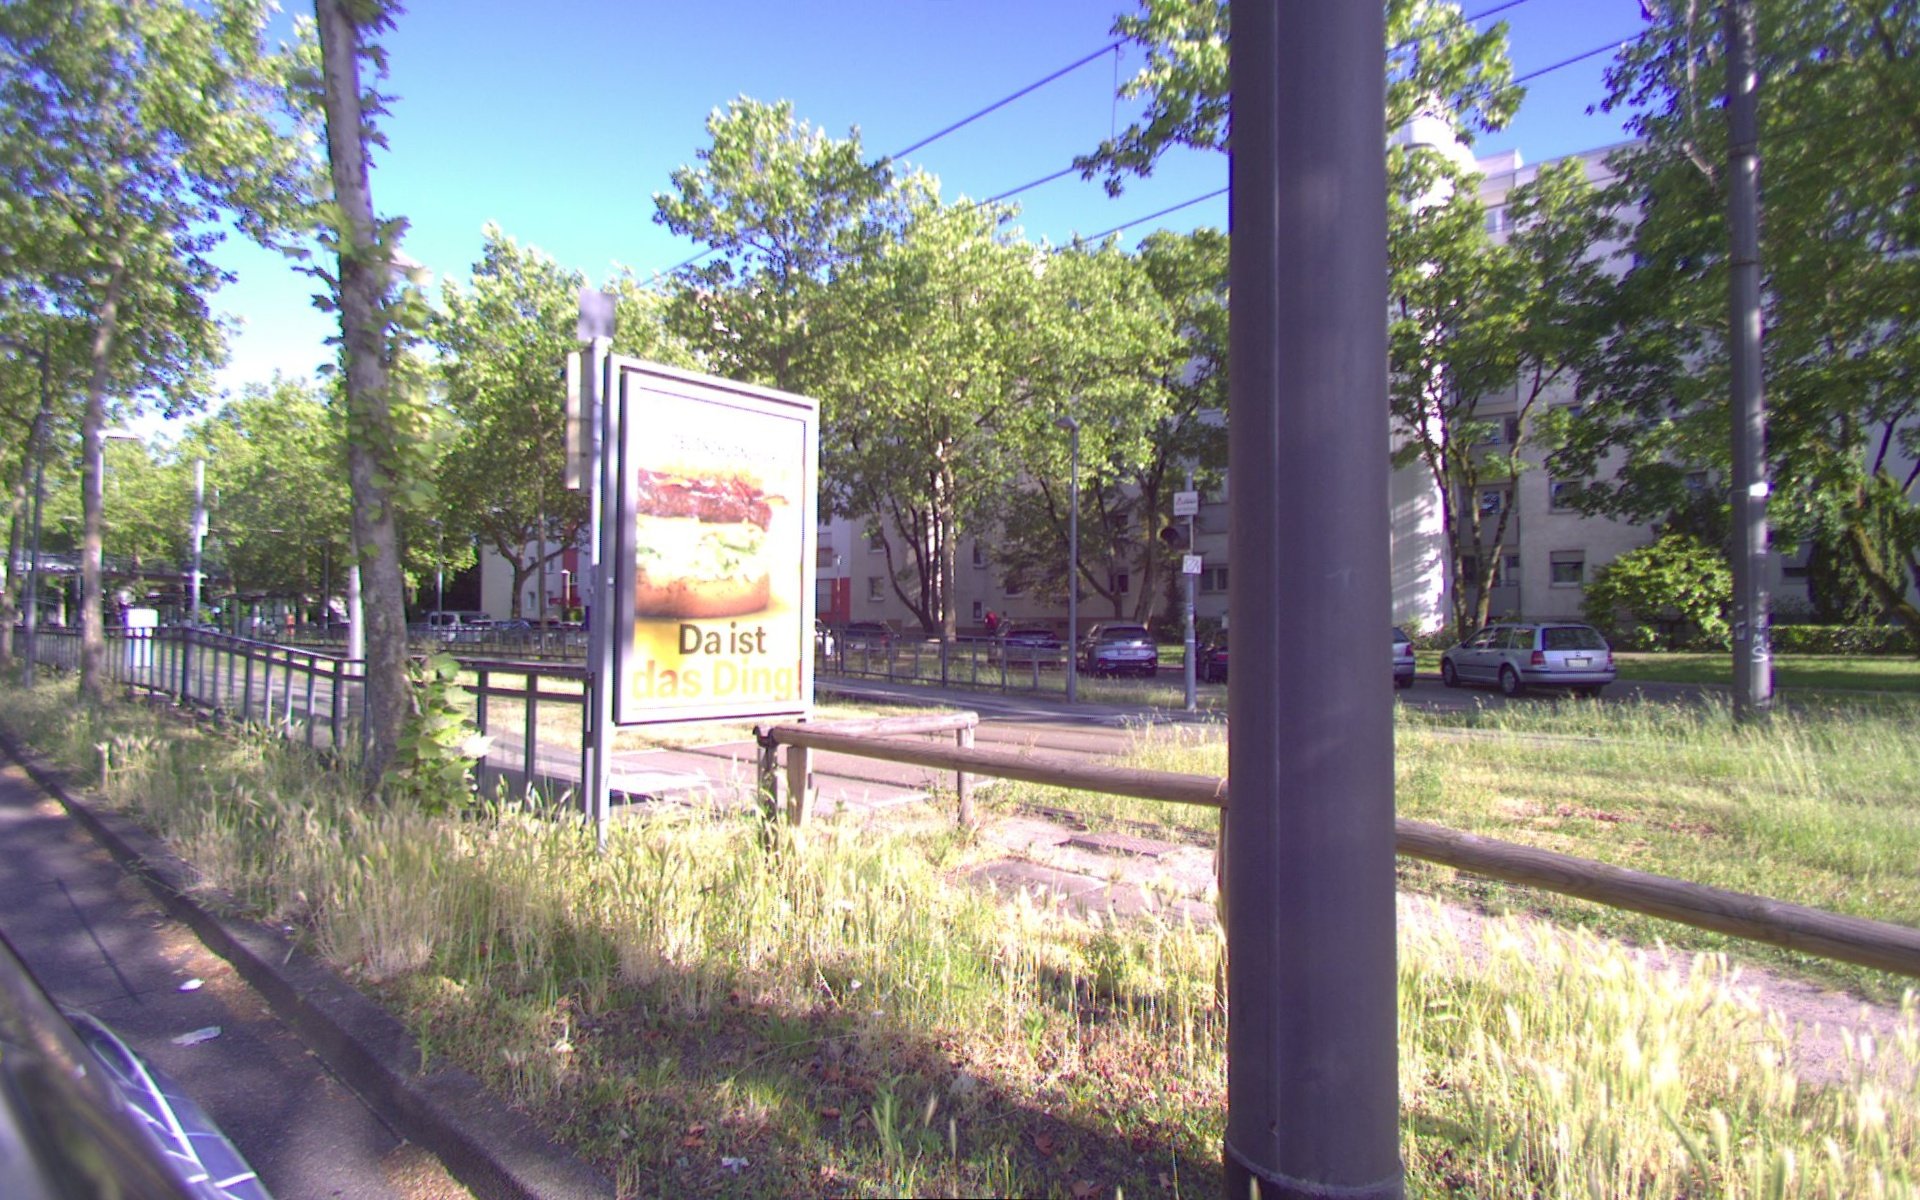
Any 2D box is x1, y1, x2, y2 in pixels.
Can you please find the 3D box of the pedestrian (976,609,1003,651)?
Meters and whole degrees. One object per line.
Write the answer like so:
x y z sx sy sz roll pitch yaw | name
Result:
1.232 1.249 42.290 0.786 1.745 0.755 -1 0 39 | pedestrian

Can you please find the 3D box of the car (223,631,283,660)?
-46.176 2.930 66.050 4.895 1.835 1.810 -1 -1 38 | car

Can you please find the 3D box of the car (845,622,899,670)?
-2.976 1.531 34.652 1.633 1.522 3.805 -1 -1 -2 | car

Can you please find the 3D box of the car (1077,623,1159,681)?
4.217 1.368 27.523 1.633 1.413 3.803 -1 -1 0 | car

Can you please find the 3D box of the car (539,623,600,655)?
-19.046 1.901 49.543 1.633 1.452 3.805 -1 -1 -2 | car

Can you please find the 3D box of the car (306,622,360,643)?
-44.981 2.291 72.683 1.633 1.452 3.805 -1 -1 -2 | car

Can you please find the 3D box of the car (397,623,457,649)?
-31.333 2.087 59.601 1.633 1.452 3.805 -1 -1 -2 | car

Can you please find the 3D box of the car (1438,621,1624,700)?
11.474 1.165 20.668 1.559 1.413 3.906 -1 -1 0 | car

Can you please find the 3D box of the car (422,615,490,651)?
-28.454 1.828 57.257 1.814 1.888 4.323 -1 -1 -2 | car

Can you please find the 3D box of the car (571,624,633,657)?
-16.627 1.859 47.162 1.633 1.452 3.805 -1 -1 -2 | car

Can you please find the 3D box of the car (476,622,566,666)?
-17.423 1.697 40.040 4.293 1.631 1.634 -2 -1 42 | car

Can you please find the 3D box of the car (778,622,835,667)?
-5.566 1.573 37.021 1.633 1.522 3.805 -1 -1 -2 | car

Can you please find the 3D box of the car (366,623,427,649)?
-33.695 2.118 60.605 1.633 1.452 3.805 -1 -1 -2 | car

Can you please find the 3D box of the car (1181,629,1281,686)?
6.675 1.382 25.281 1.445 1.234 3.815 -1 -1 0 | car

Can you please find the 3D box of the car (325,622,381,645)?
-40.840 2.230 68.194 1.633 1.452 3.805 -1 -1 -2 | car

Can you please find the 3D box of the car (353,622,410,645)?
-37.886 2.176 66.381 1.633 1.452 3.805 -1 -1 -2 | car

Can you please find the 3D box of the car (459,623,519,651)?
-25.872 2.003 55.663 1.633 1.452 3.805 -1 -1 -2 | car

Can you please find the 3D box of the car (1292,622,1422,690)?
9.143 1.242 23.594 1.559 1.413 3.638 -1 -1 0 | car

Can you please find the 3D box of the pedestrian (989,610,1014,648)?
1.830 1.251 44.568 0.786 1.635 0.755 -1 0 39 | pedestrian

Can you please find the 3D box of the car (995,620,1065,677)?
1.983 1.359 29.670 1.633 1.522 3.805 -1 -1 -2 | car

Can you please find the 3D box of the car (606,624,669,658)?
-14.064 1.769 44.340 1.633 1.366 3.805 -1 -1 -2 | car
